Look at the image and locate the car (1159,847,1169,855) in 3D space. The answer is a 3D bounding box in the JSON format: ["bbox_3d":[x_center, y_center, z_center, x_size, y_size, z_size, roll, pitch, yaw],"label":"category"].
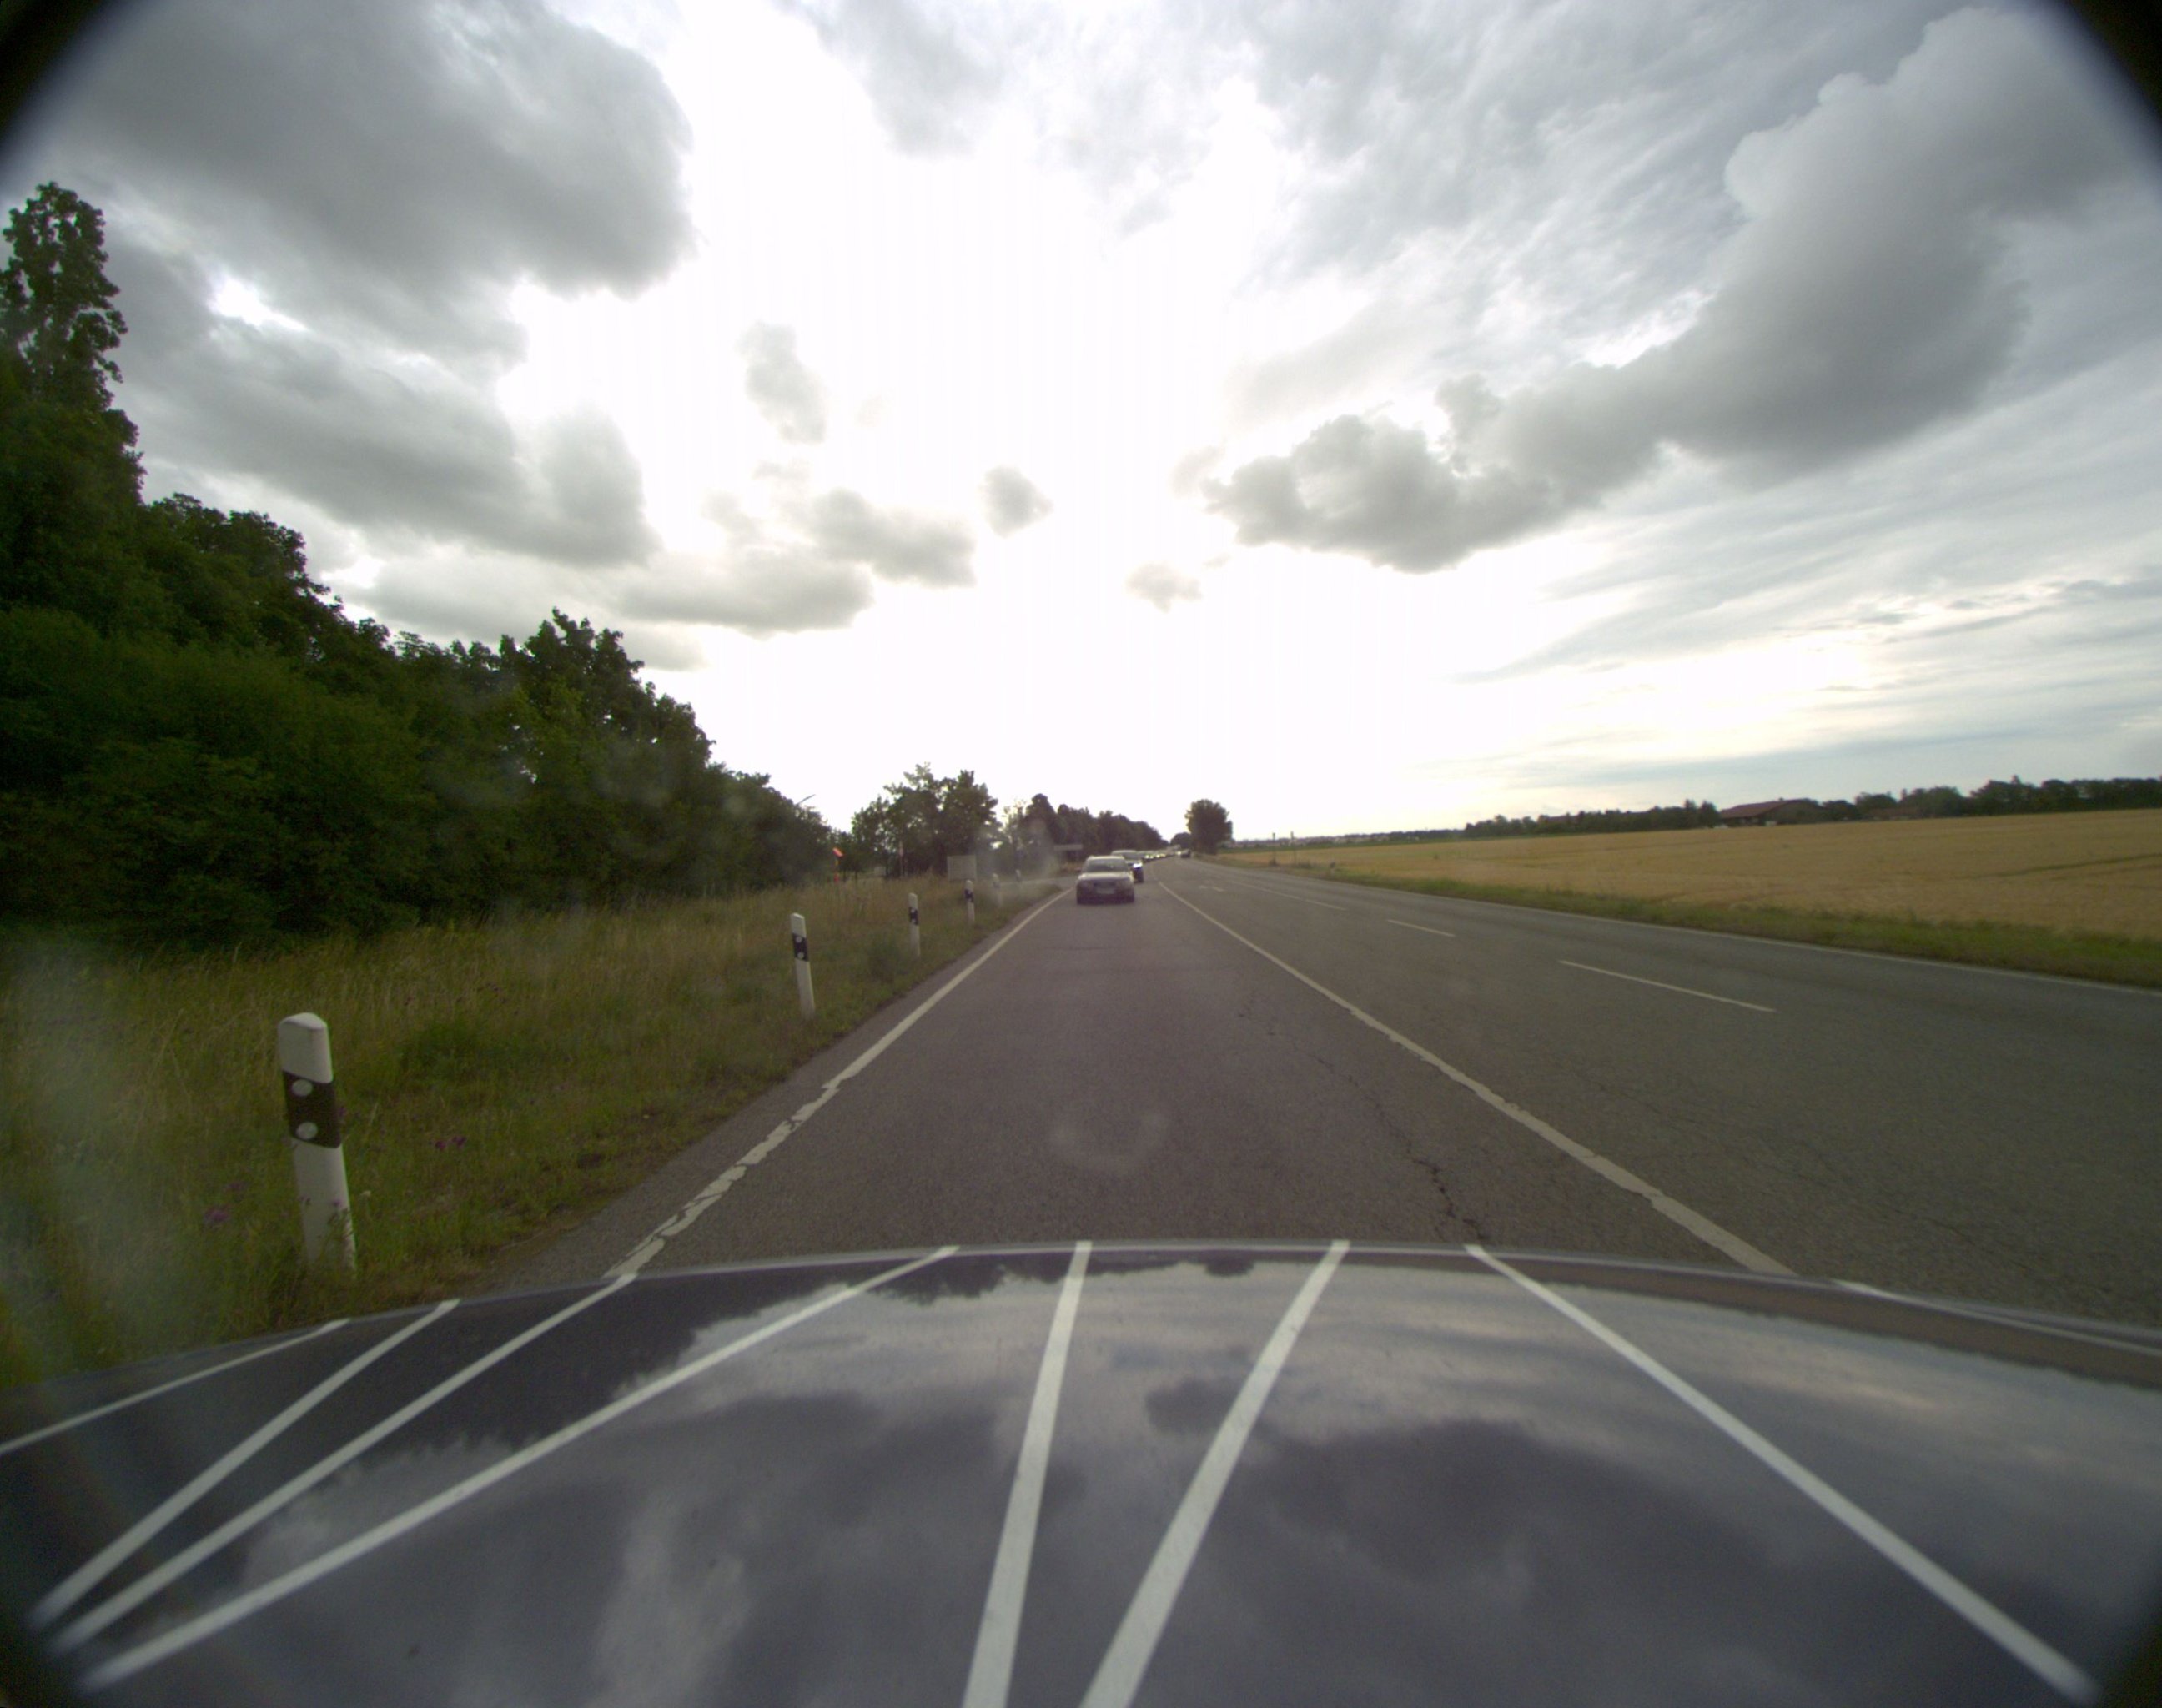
[{"bbox_3d":[17.580,-0.615,161.162,1.792,1.573,4.140,-2,0,11],"label":"car"}]

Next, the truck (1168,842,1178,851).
[{"bbox_3d":[27.136,-2.255,224.073,2.318,2.749,7.679,-2,1,12],"label":"truck"}]

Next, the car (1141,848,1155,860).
[{"bbox_3d":[9.857,0.002,111.483,1.793,1.573,4.189,-2,0,7],"label":"car"}]

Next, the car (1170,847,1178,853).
[{"bbox_3d":[24.369,-0.987,199.109,1.792,1.531,4.140,-2,0,13],"label":"car"}]

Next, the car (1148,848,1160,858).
[{"bbox_3d":[12.354,-0.196,128.707,1.793,1.573,4.189,-2,0,7],"label":"car"}]

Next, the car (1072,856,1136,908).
[{"bbox_3d":[0.737,0.812,24.128,1.793,1.415,4.367,-2,0,2],"label":"car"}]

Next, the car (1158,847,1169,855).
[{"bbox_3d":[18.404,-0.667,168.800,1.953,1.573,4.140,-2,0,13],"label":"car"}]

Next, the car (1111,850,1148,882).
[{"bbox_3d":[2.516,0.585,40.531,1.793,1.573,4.367,-2,0,2],"label":"car"}]

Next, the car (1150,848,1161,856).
[{"bbox_3d":[14.562,-0.390,148.611,1.792,1.573,4.139,-2,0,8],"label":"car"}]

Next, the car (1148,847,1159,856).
[{"bbox_3d":[13.312,-0.431,139.274,1.792,1.573,4.139,-2,0,9],"label":"car"}]

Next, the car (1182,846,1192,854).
[{"bbox_3d":[20.696,-0.833,148.250,1.830,1.402,4.426,-3,0,10],"label":"car"}]

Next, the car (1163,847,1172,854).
[{"bbox_3d":[20.329,-0.880,178.289,1.792,1.573,4.140,-2,0,12],"label":"car"}]

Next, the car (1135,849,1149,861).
[{"bbox_3d":[8.231,0.132,102.075,1.793,1.573,4.369,-2,0,6],"label":"car"}]
